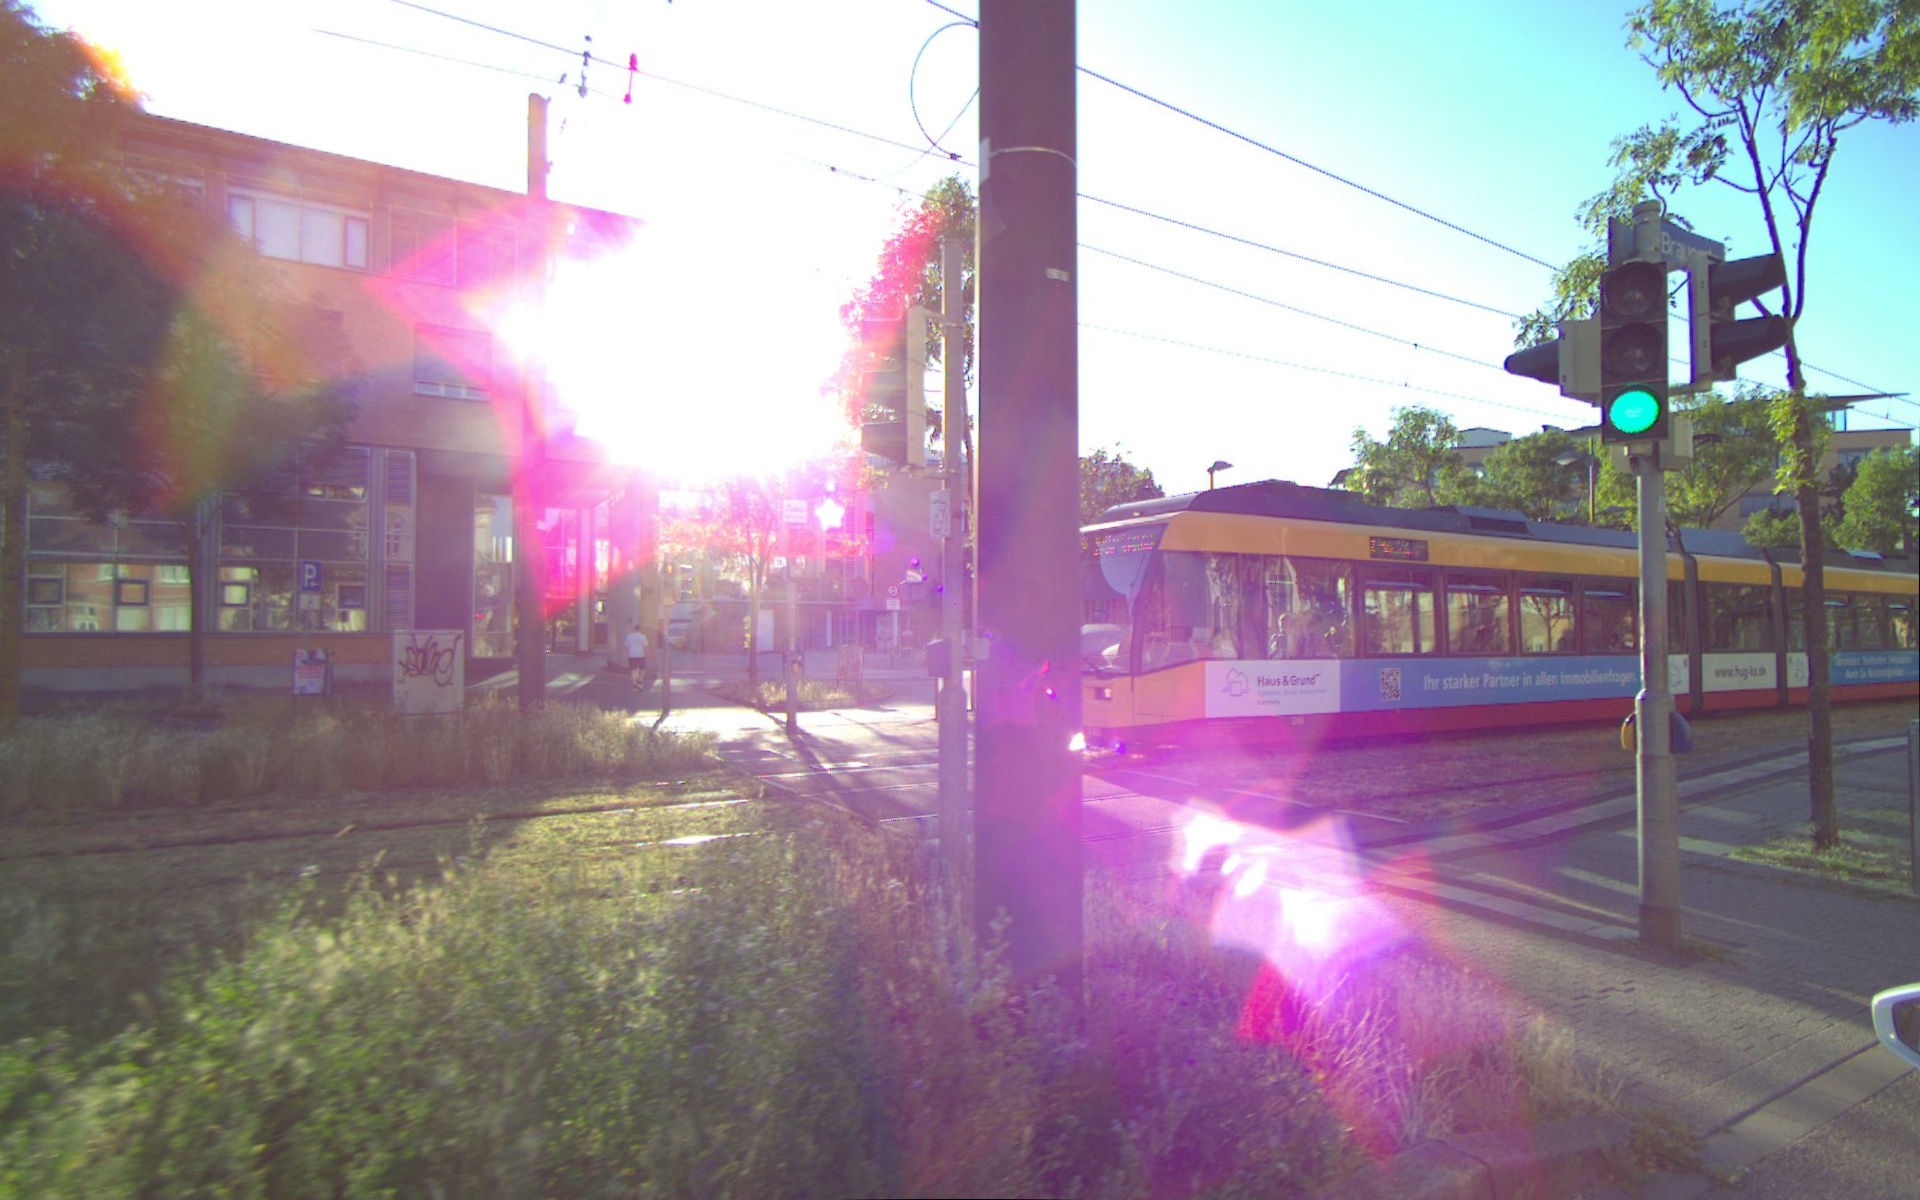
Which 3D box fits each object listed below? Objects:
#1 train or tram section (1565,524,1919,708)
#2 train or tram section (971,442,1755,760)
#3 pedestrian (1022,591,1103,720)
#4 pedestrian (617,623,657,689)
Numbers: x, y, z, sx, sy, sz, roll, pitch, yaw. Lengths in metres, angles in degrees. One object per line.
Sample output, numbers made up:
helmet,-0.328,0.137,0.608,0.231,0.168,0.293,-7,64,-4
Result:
train or tram section,19.636,0.488,23.418,13.695,3.383,3.415,2,-2,-30
train or tram section,7.406,0.212,16.208,14.851,3.475,3.415,2,-2,-30
pedestrian,1.680,0.893,16.518,0.946,2.040,0.930,1,-1,-30
pedestrian,-8.582,1.470,26.683,0.822,1.720,0.683,1,-2,-38
